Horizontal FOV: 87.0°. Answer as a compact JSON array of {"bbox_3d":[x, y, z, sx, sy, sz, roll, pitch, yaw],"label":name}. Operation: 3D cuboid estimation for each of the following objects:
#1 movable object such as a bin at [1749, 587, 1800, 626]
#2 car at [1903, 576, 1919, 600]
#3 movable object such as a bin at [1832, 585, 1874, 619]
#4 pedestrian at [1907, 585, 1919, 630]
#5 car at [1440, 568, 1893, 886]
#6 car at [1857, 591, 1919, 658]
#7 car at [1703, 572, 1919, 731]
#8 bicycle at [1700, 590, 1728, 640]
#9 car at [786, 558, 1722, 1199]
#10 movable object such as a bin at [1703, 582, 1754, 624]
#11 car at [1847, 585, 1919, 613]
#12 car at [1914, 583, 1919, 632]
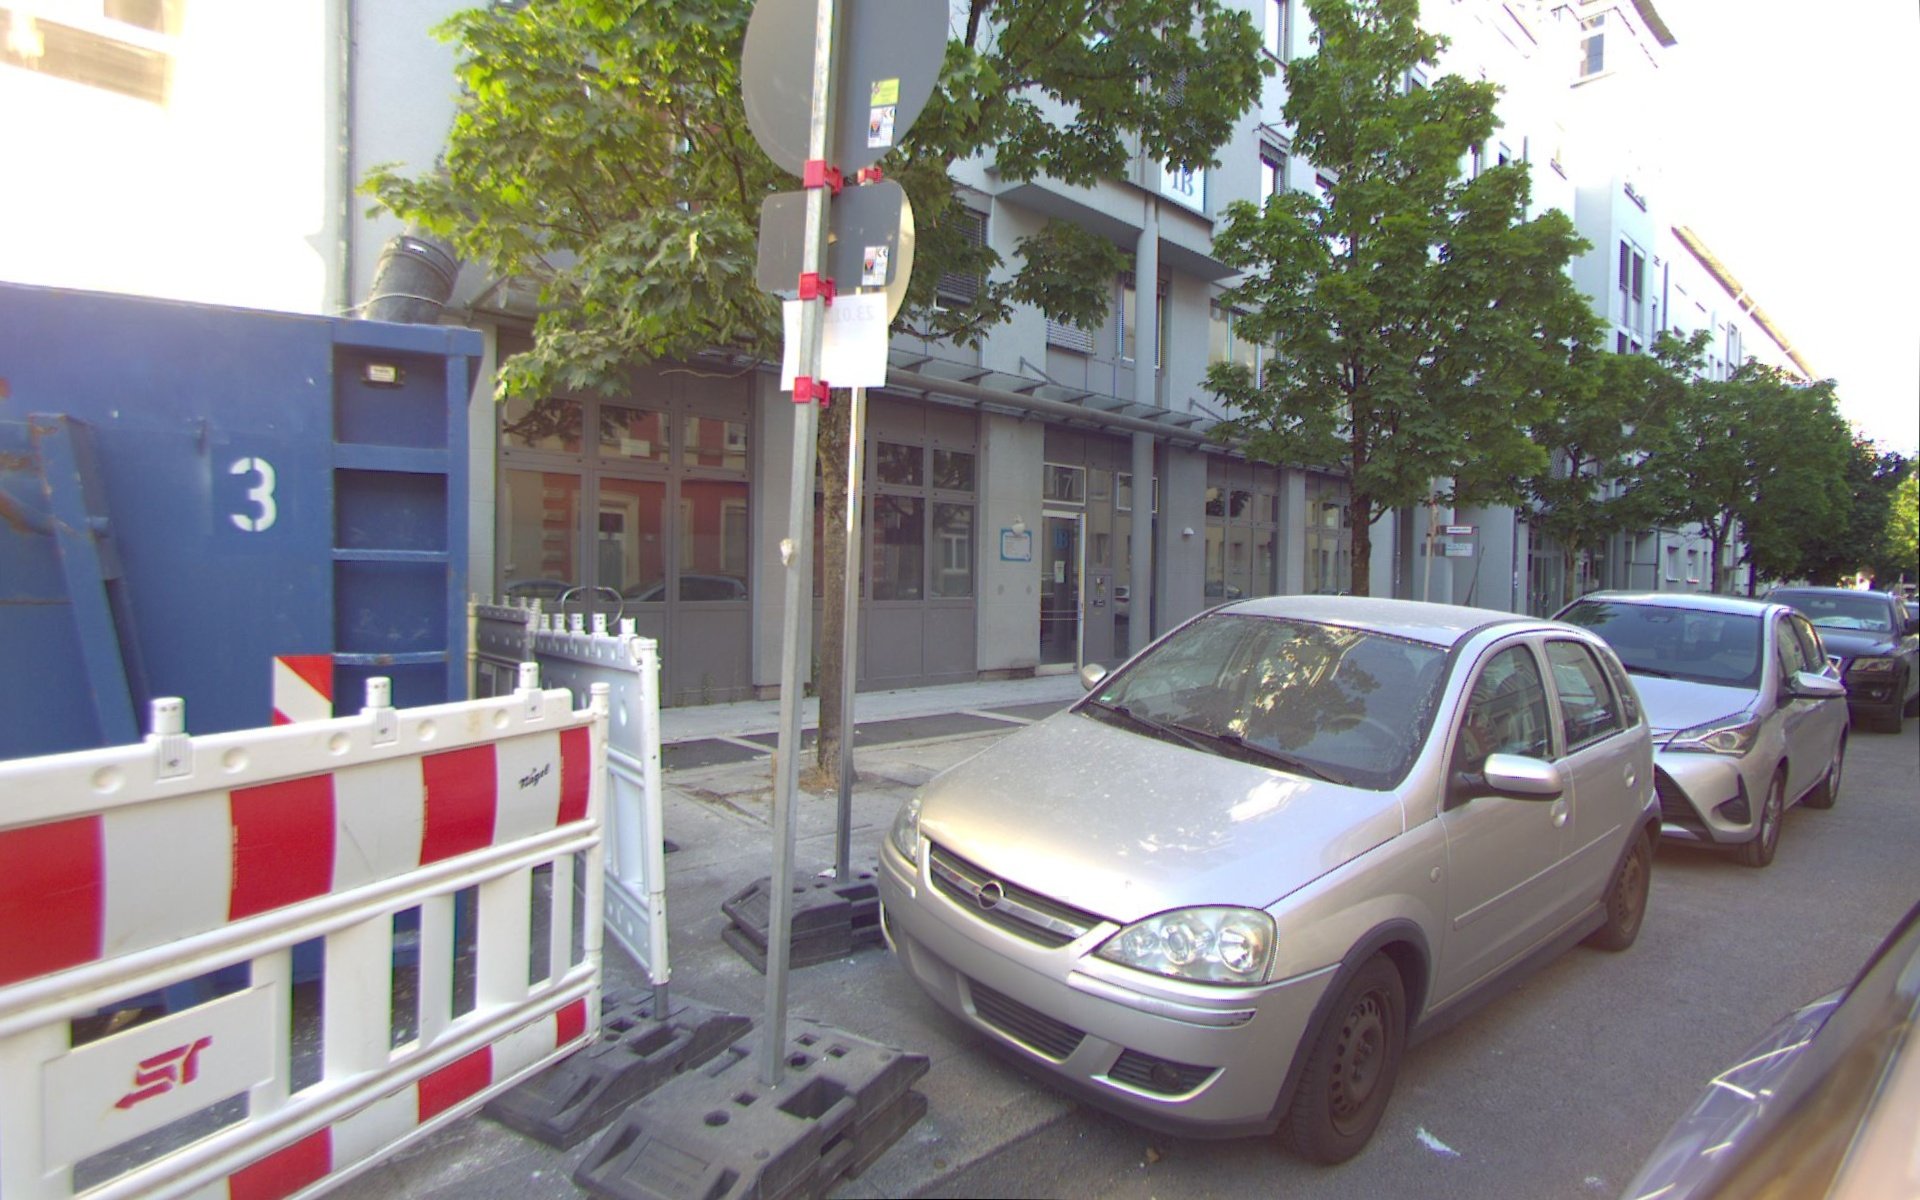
[{"bbox_3d":[29.304,0.223,36.414,1.120,1.337,1.263,0,3,-43],"label":"movable object such as a bin"},{"bbox_3d":[96.773,-1.212,101.421,2.147,2.311,6.135,3,3,33],"label":"car"},{"bbox_3d":[40.193,0.096,45.543,1.203,1.454,1.286,0,3,-43],"label":"movable object such as a bin"},{"bbox_3d":[32.057,0.268,33.350,0.786,1.481,0.872,2,2,-6],"label":"pedestrian"},{"bbox_3d":[5.039,0.611,7.014,3.902,1.543,1.679,0,3,-42],"label":"car"},{"bbox_3d":[22.977,0.551,24.262,4.272,1.446,1.766,-1,3,-43],"label":"car"},{"bbox_3d":[11.268,0.515,13.056,4.360,1.642,1.888,0,3,-43],"label":"car"},{"bbox_3d":[19.254,0.367,25.856,0.519,1.182,1.718,3,3,36],"label":"bicycle"},{"bbox_3d":[1.371,0.651,3.885,3.664,1.493,1.680,0,3,-40],"label":"car"},{"bbox_3d":[28.250,0.106,37.208,1.120,1.454,1.263,0,3,-43],"label":"movable object such as a bin"},{"bbox_3d":[59.945,-0.054,65.256,1.968,1.584,3.991,0,4,-45],"label":"car"},{"bbox_3d":[34.909,0.288,35.517,4.646,1.655,1.873,-1,4,-45],"label":"car"}]
